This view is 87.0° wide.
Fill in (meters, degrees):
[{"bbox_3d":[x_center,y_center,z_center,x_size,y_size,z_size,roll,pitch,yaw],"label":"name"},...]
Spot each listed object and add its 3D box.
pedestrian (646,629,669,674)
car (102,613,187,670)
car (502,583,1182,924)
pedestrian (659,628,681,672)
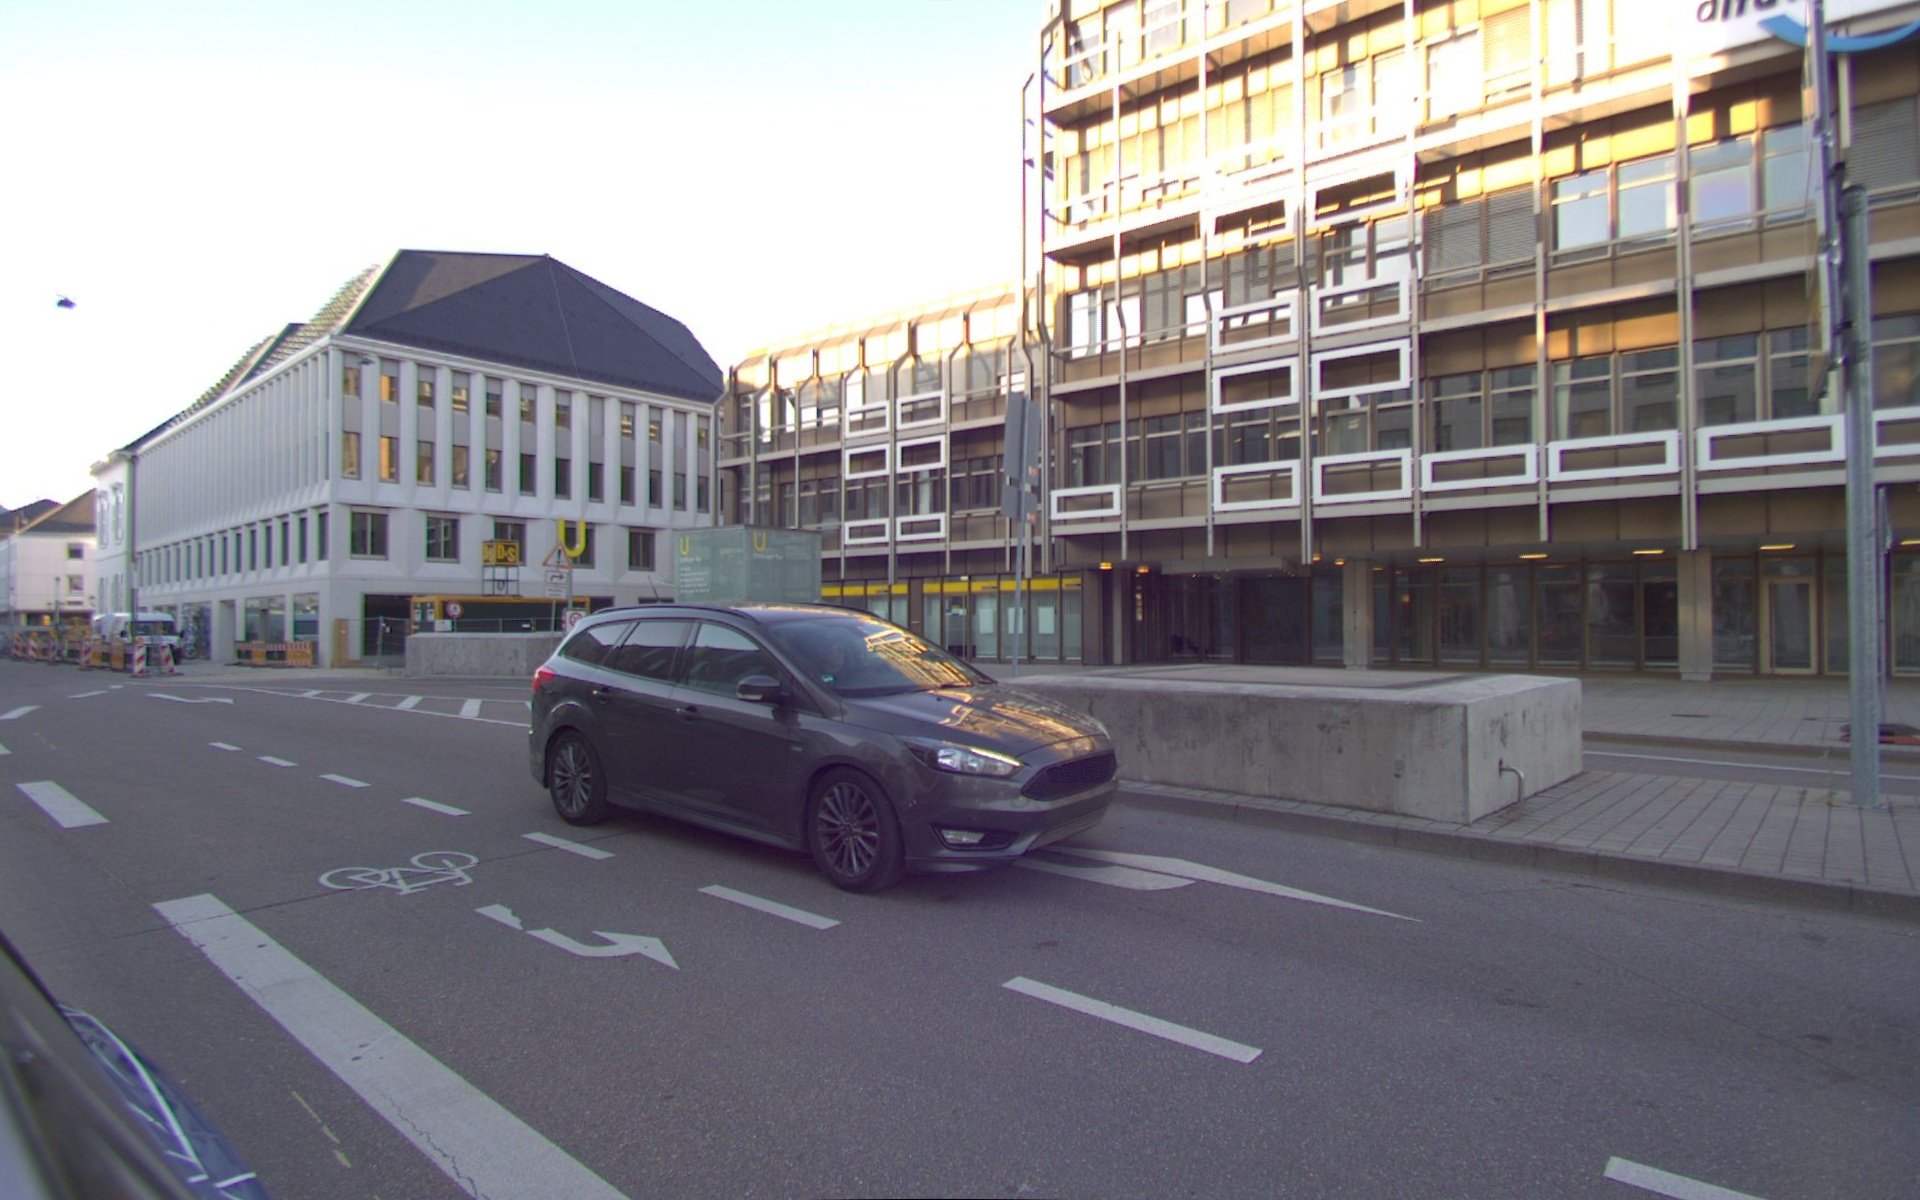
[{"bbox_3d":[-10.367,1.749,34.678,0.555,1.508,0.525,-2,-3,41],"label":"pedestrian"},{"bbox_3d":[-38.840,1.956,48.163,6.047,2.575,2.114,-2,-3,41],"label":"car"},{"bbox_3d":[-0.992,0.712,6.450,4.375,1.473,1.740,-2,-1,39],"label":"car"},{"bbox_3d":[-10.131,1.746,35.300,0.555,1.508,0.525,-2,-3,41],"label":"pedestrian"}]
